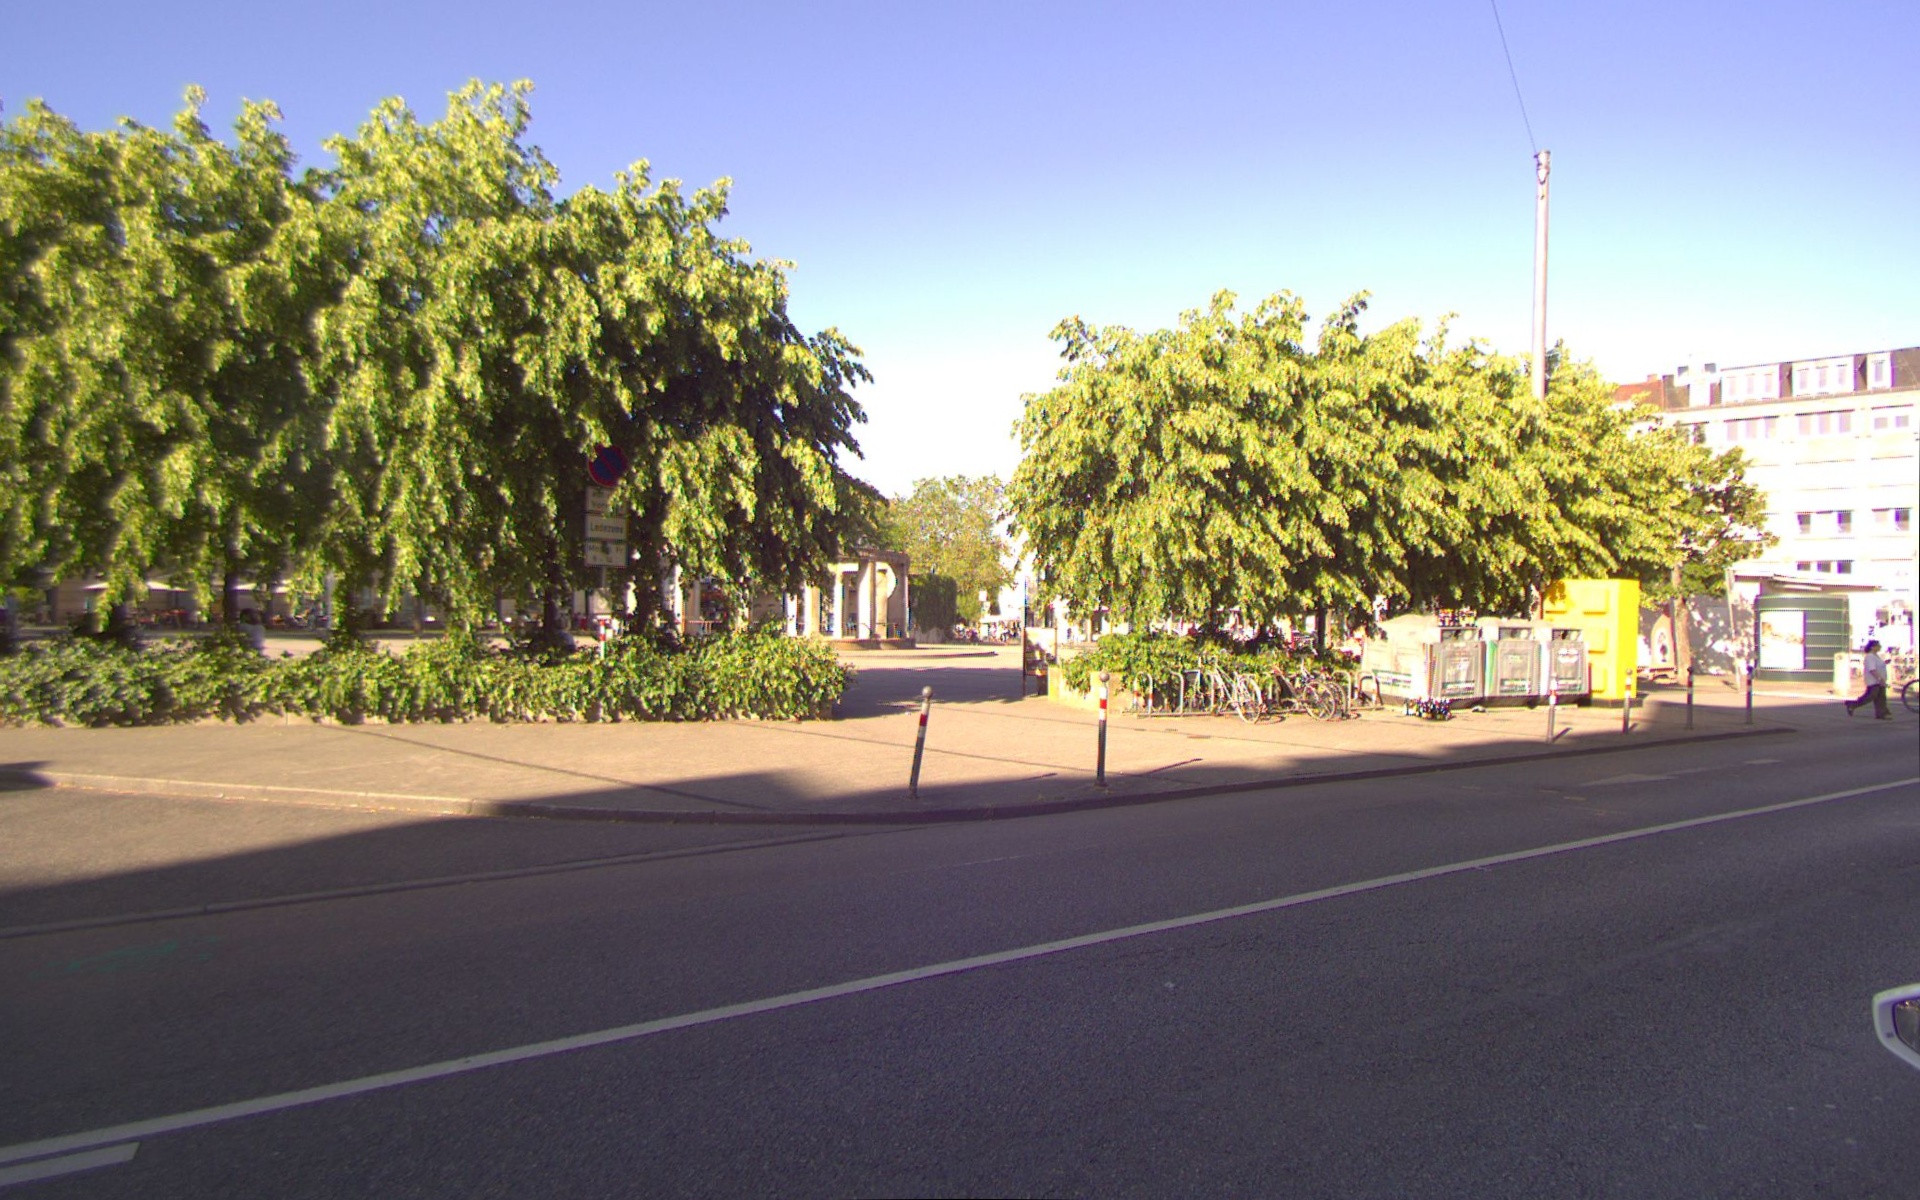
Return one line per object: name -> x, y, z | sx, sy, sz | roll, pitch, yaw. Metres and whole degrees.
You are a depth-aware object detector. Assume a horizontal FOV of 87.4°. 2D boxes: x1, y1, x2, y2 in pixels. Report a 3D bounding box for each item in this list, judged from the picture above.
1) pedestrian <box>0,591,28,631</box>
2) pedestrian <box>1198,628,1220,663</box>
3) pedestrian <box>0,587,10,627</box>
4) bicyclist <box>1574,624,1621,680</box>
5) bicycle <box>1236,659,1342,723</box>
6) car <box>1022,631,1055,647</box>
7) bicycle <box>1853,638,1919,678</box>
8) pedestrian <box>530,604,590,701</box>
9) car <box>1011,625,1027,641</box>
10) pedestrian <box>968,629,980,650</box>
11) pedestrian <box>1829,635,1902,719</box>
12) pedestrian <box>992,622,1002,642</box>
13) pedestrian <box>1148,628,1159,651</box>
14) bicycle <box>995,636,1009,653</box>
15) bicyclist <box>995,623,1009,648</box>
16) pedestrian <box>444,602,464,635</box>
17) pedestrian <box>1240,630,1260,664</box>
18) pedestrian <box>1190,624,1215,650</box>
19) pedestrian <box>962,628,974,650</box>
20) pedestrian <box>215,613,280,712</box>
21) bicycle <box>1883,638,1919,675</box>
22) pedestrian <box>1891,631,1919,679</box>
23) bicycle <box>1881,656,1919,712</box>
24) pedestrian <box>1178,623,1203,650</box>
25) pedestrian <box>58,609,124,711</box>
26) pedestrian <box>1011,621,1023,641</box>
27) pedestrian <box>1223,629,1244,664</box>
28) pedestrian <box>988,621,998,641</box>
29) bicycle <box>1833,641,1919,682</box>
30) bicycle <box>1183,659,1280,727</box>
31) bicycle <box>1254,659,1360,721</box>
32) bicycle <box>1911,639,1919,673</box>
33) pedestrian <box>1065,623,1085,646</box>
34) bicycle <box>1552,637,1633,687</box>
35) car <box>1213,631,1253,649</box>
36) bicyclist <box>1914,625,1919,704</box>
pedestrian -> -37.495, 0.432, 39.674 | 0.680, 1.550, 0.684 | 2, 0, 1
pedestrian -> 11.572, 2.093, 46.633 | 0.904, 1.541, 0.936 | 2, 0, 15
pedestrian -> -37.150, 0.255, 38.582 | 0.681, 1.545, 0.683 | 2, 0, -10
bicyclist -> 18.059, 1.462, 28.470 | 0.598, 1.504, 0.955 | 2, 0, -14
bicycle -> 5.268, 1.441, 16.185 | 0.465, 0.870, 1.659 | 2, 0, -35
car -> 7.073, 3.498, 90.194 | 2.711, 1.283, 1.239 | 2, 0, 37
bicycle -> 33.137, 2.039, 35.065 | 0.923, 1.291, 2.764 | 2, 0, -32
pedestrian -> -6.557, 0.844, 16.459 | 0.688, 1.541, 0.676 | 2, 0, -41
car -> 6.252, 3.512, 107.056 | 1.520, 1.550, 4.135 | 1, -1, 2
pedestrian -> 1.018, 2.915, 74.912 | 0.575, 1.544, 0.619 | 2, 0, -41
pedestrian -> 17.812, 1.497, 19.759 | 0.688, 1.564, 0.915 | 2, 0, -35
pedestrian -> 3.759, 3.257, 102.444 | 0.836, 2.040, 0.855 | 2, 0, 10
pedestrian -> 13.415, 2.748, 69.588 | 0.614, 1.544, 0.579 | 2, 0, 25
bicycle -> 3.048, 3.215, 72.837 | 0.594, 1.116, 1.987 | 2, 0, -8
bicyclist -> 3.046, 2.576, 72.621 | 0.774, 1.722, 0.894 | 2, 0, -8
pedestrian -> -24.197, 0.884, 48.043 | 0.728, 1.550, 0.691 | 2, 0, -16
pedestrian -> 13.146, 2.124, 45.531 | 0.598, 1.528, 0.557 | 2, 0, -15
pedestrian -> 12.103, 1.847, 50.237 | 0.885, 1.230, 0.864 | 2, 0, -15
pedestrian -> 0.572, 2.900, 74.523 | 0.575, 1.544, 0.618 | 2, 0, -42
pedestrian -> -10.858, 0.931, 15.302 | 0.581, 1.456, 0.615 | 2, 0, 33
bicycle -> 35.255, 2.083, 36.132 | 0.932, 1.287, 2.859 | 2, 0, -32
pedestrian -> 34.251, 1.968, 35.886 | 1.245, 1.633, 1.093 | 2, 0, 34
bicycle -> 20.485, 1.747, 20.855 | 0.567, 1.173, 1.952 | 1, -3, -19
pedestrian -> 11.359, 1.793, 49.482 | 0.854, 1.230, 0.934 | 2, 0, -13
pedestrian -> -12.866, 0.868, 14.885 | 0.615, 1.456, 0.647 | 2, 0, -32
pedestrian -> 5.402, 2.899, 94.750 | 0.891, 1.845, 0.952 | 2, 0, 17
pedestrian -> 12.430, 2.106, 45.708 | 0.761, 1.541, 0.838 | 2, 0, 6
pedestrian -> 3.480, 3.268, 106.342 | 0.836, 2.040, 0.855 | 2, 0, 10
bicycle -> 31.214, 2.062, 33.763 | 0.932, 1.211, 2.645 | 2, 0, -32
bicycle -> 4.168, 1.408, 15.527 | 0.464, 0.897, 1.558 | 2, 0, -29
bicycle -> 5.666, 1.451, 16.480 | 0.465, 0.870, 1.654 | 2, 0, -35
bicycle -> 37.239, 2.154, 37.276 | 0.932, 1.276, 2.648 | 2, 0, -32
pedestrian -> 9.654, 2.874, 84.460 | 1.277, 1.867, 1.100 | 2, 0, 28
bicycle -> 17.995, 1.748, 28.638 | 0.619, 1.239, 1.994 | 3, 0, -15
car -> 21.469, 3.125, 79.038 | 2.710, 1.283, 1.240 | 2, 0, 36
bicyclist -> 20.506, 1.340, 20.832 | 0.571, 1.635, 0.825 | 1, -2, -20
